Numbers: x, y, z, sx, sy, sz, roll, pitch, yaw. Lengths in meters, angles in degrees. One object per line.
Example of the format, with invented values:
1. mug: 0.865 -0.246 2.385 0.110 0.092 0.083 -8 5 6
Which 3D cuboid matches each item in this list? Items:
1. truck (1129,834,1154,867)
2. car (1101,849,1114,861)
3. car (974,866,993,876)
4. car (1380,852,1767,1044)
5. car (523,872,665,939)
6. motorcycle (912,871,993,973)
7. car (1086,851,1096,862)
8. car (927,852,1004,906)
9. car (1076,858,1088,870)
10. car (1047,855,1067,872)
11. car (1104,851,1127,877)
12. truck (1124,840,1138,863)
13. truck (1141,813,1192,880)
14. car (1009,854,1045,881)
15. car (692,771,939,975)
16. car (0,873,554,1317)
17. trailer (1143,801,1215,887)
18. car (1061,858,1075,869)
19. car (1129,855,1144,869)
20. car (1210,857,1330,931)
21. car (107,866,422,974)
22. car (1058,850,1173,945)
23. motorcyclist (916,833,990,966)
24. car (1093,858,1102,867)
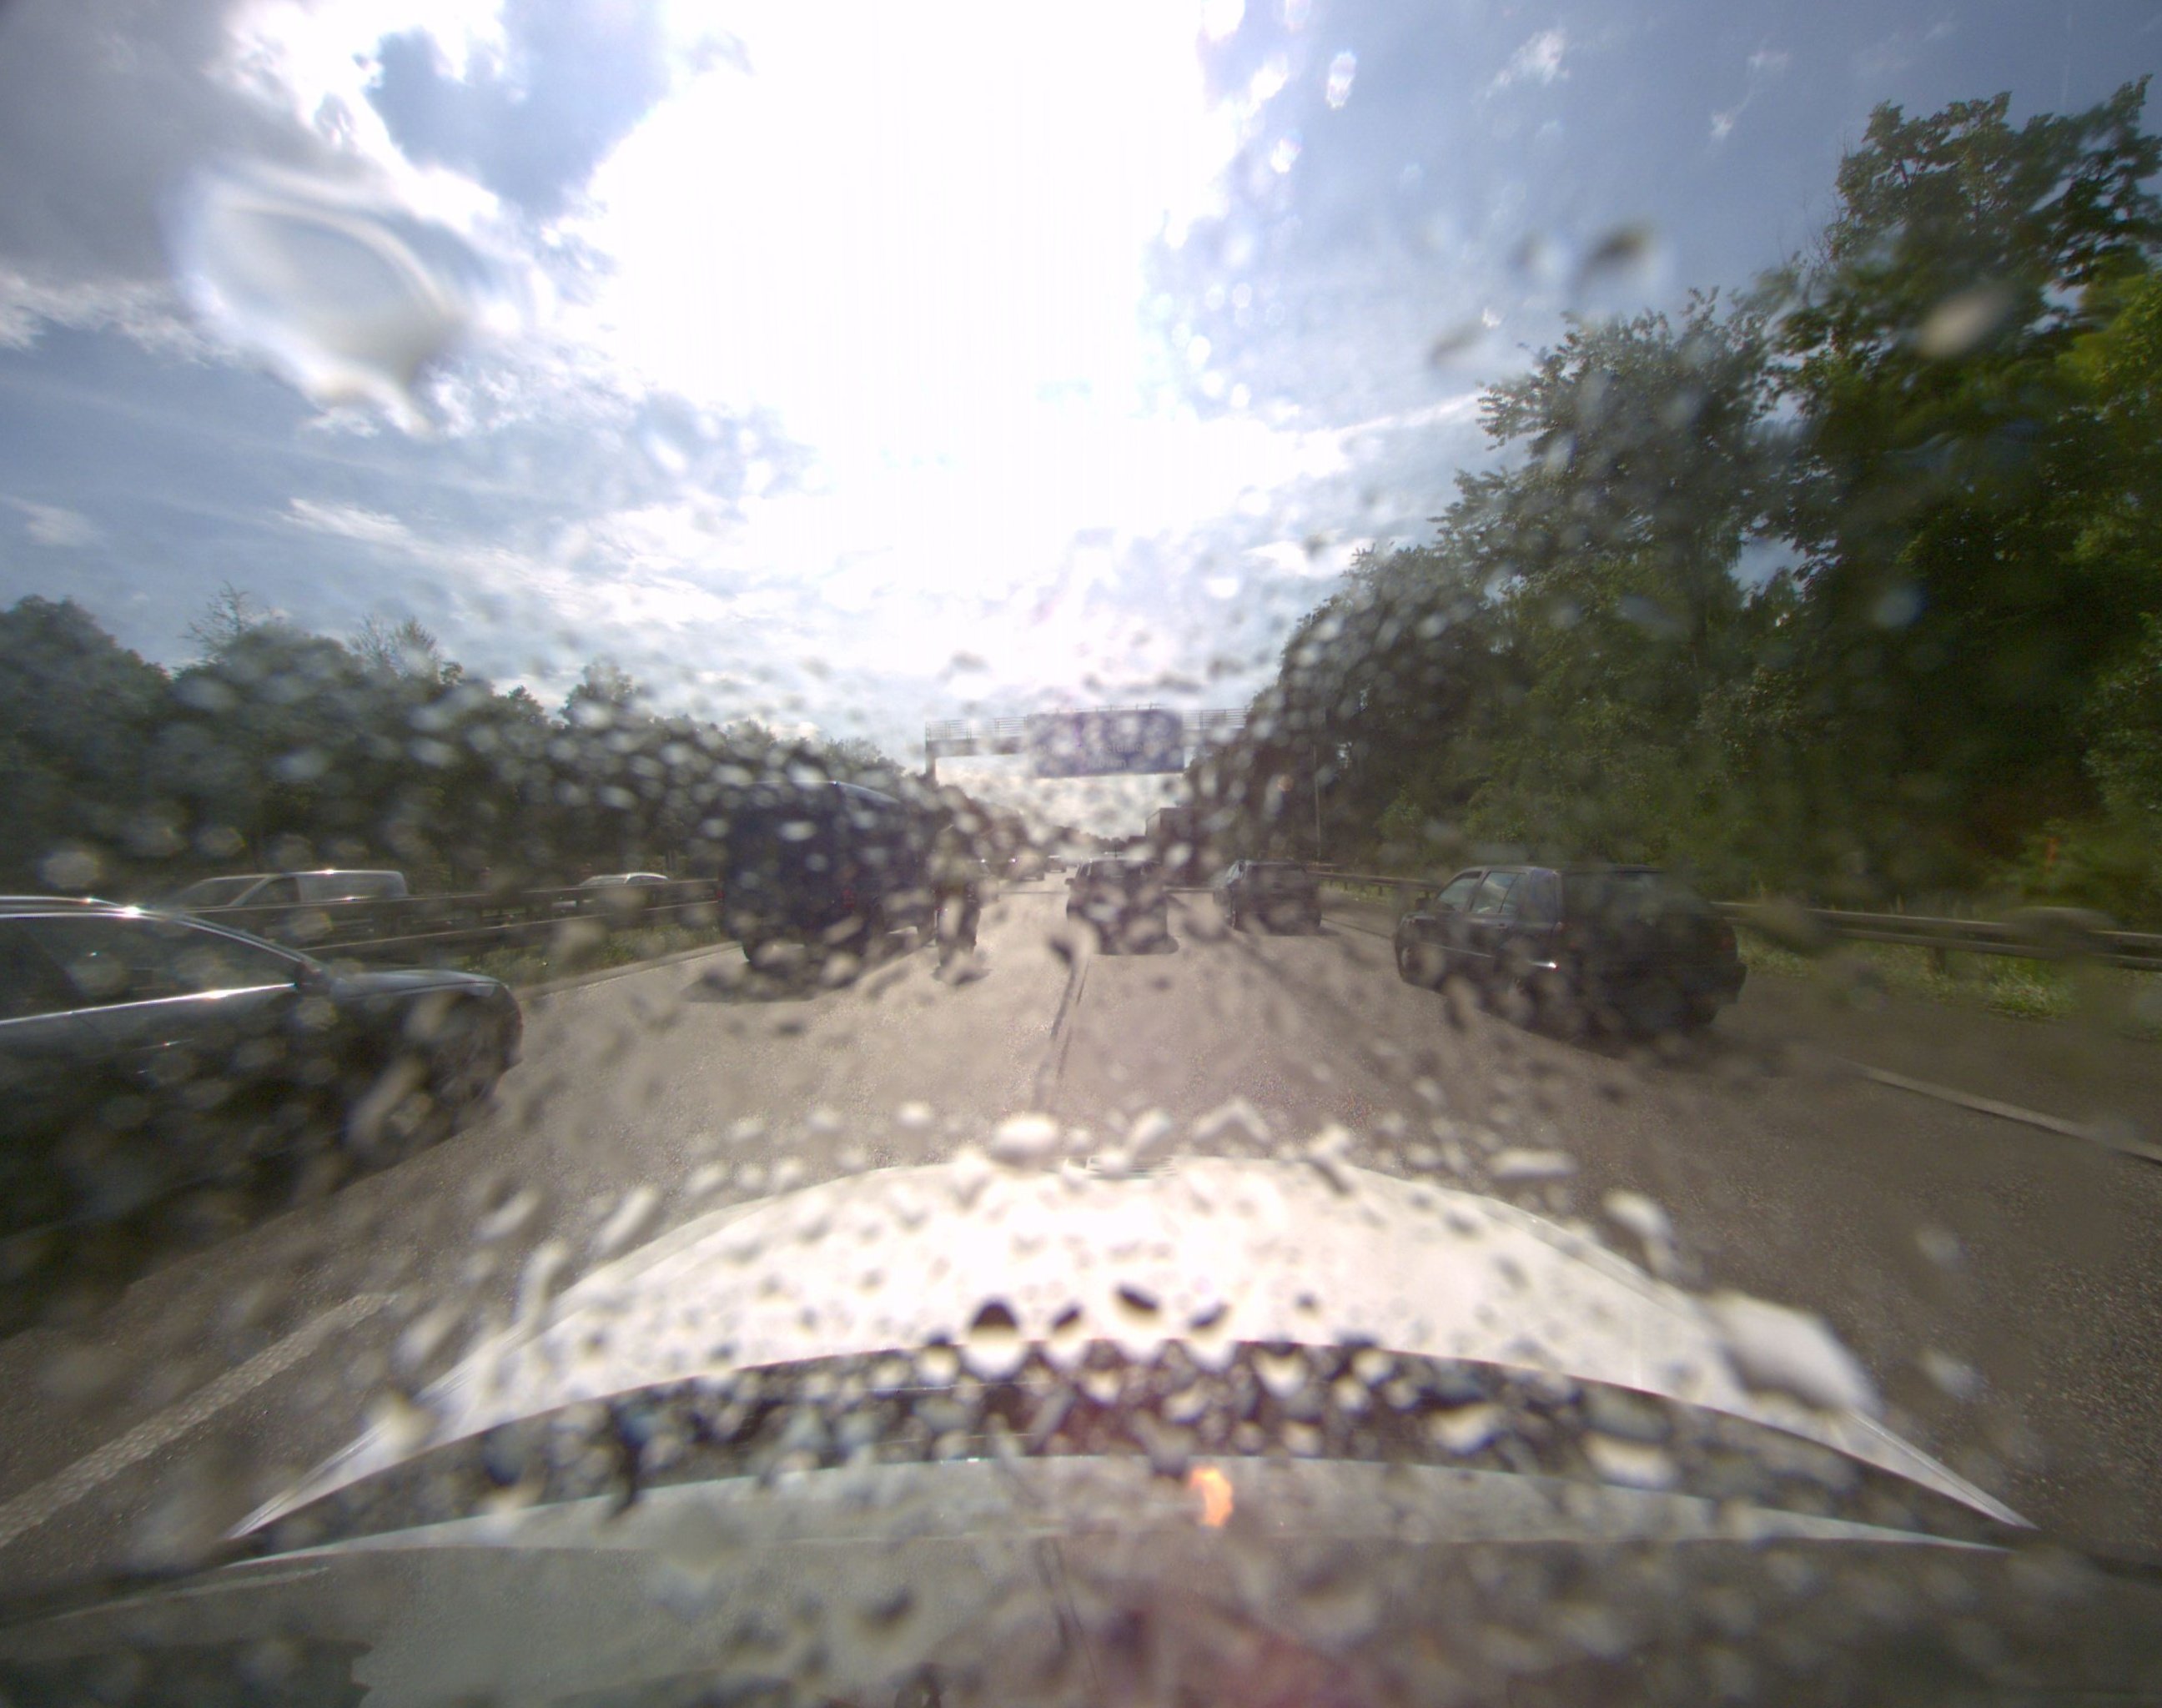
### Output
1. truck: 8.250 -0.433 111.638 3.189 4.404 9.439 -1 0 3
2. car: 3.507 0.126 107.308 1.625 1.490 3.438 -1 0 2
3. car: -12.746 2.208 106.656 1.795 1.337 4.413 -1 -1 3
4. car: 4.486 0.731 8.154 1.645 1.456 3.745 -1 0 1
5. car: -13.026 1.321 22.062 1.528 1.607 3.782 -1 -1 0
6. motorcycle: -1.774 0.902 11.607 0.817 1.263 2.117 0 0 0
7. car: 1.960 0.460 159.438 1.986 2.014 4.002 -1 -1 2
8. car: -3.720 0.764 26.876 1.751 1.595 4.332 -1 0 2
9. car: 0.200 1.661 136.752 1.986 2.014 4.002 -1 -1 2
10. car: -2.311 0.867 79.077 1.669 1.597 3.438 -1 0 2
11. car: 2.673 0.776 63.409 1.669 1.936 3.775 -1 0 2
12. truck: 10.758 -0.438 176.531 2.870 4.687 12.665 -1 -1 2
13. truck: 5.805 -0.453 55.897 3.040 4.325 5.888 -1 -1 2
14. car: -3.492 0.843 52.881 1.886 1.628 4.197 -1 0 2
15. car: -3.989 0.261 13.573 2.008 2.648 5.779 -1 0 2
16. car: -4.425 0.838 3.185 1.713 1.411 4.469 -1 0 1
17. trailer: 5.523 -0.474 48.530 3.076 4.312 14.111 -1 0 2
18. car: -1.744 1.248 111.202 1.669 1.490 3.438 -1 0 2
19. car: 6.482 0.926 95.609 1.669 1.490 3.438 -1 0 2
20. car: 3.979 0.784 17.816 1.748 1.396 4.370 -1 0 2
21. car: -17.334 1.279 17.741 1.986 2.014 4.732 -1 -1 2
22. car: 0.660 0.733 15.808 1.907 1.565 4.316 -1 0 2
23. motorcyclist: -1.782 0.607 11.512 0.819 1.761 1.390 -1 -1 -1
24. car: 3.723 1.971 183.024 1.986 2.014 4.002 -1 -1 2
